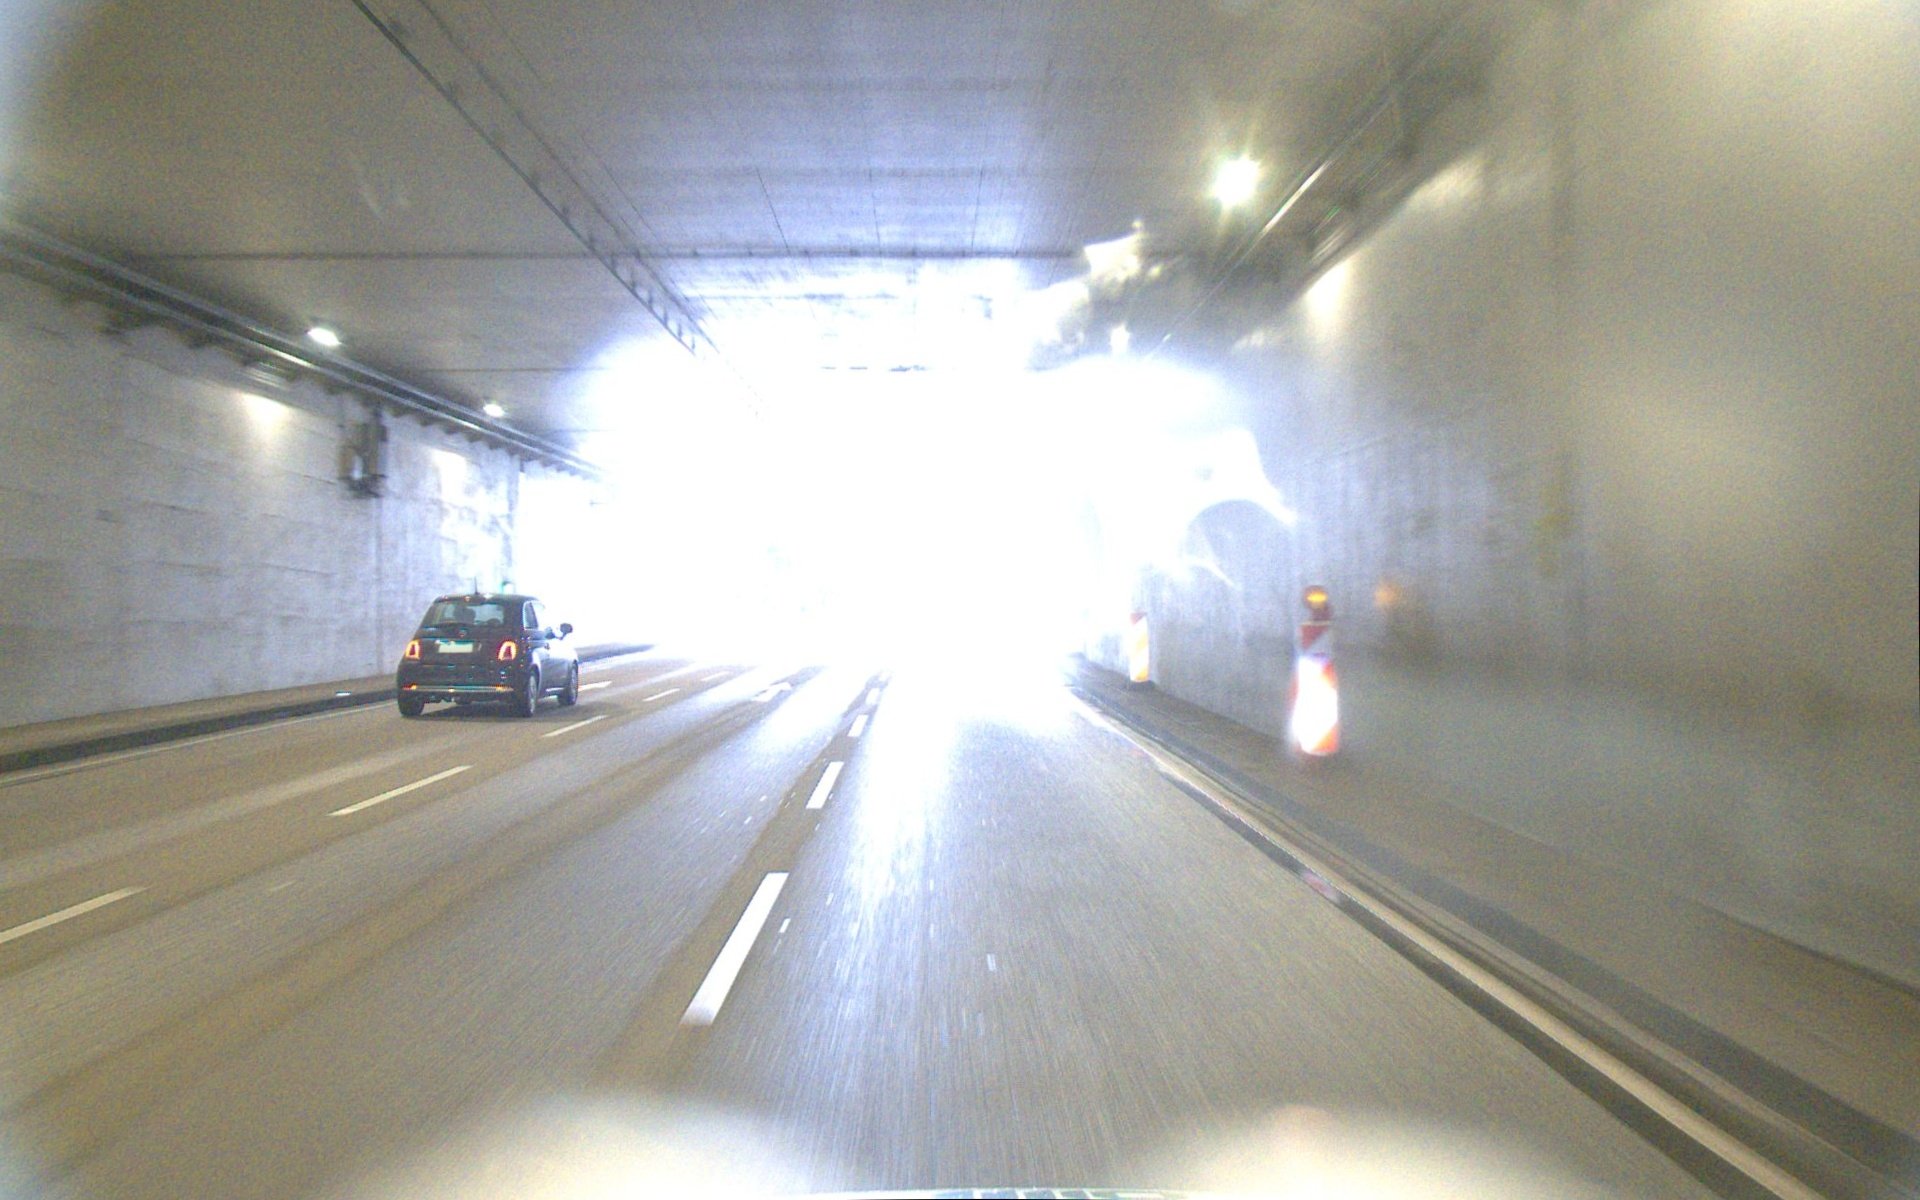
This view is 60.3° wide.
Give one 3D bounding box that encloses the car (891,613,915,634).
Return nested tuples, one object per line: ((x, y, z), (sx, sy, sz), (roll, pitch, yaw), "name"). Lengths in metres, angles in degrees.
((-4.967, 2.042, 145.063), (1.852, 1.713, 4.001), (1, 0, 2), "car")

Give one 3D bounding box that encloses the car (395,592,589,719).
((-5.883, 0.648, 21.171), (1.580, 1.480, 3.571), (0, 0, -2), "car")

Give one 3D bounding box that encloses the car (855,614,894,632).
((-7.898, 2.134, 152.672), (1.873, 1.540, 3.957), (1, 0, -31), "car")

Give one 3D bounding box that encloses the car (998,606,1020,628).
((4.846, 1.673, 163.141), (1.953, 2.049, 3.999), (2, -1, -1), "car")

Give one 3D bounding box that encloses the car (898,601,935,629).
((-2.485, 0.859, 93.044), (1.954, 1.473, 4.312), (2, -1, -3), "car")
